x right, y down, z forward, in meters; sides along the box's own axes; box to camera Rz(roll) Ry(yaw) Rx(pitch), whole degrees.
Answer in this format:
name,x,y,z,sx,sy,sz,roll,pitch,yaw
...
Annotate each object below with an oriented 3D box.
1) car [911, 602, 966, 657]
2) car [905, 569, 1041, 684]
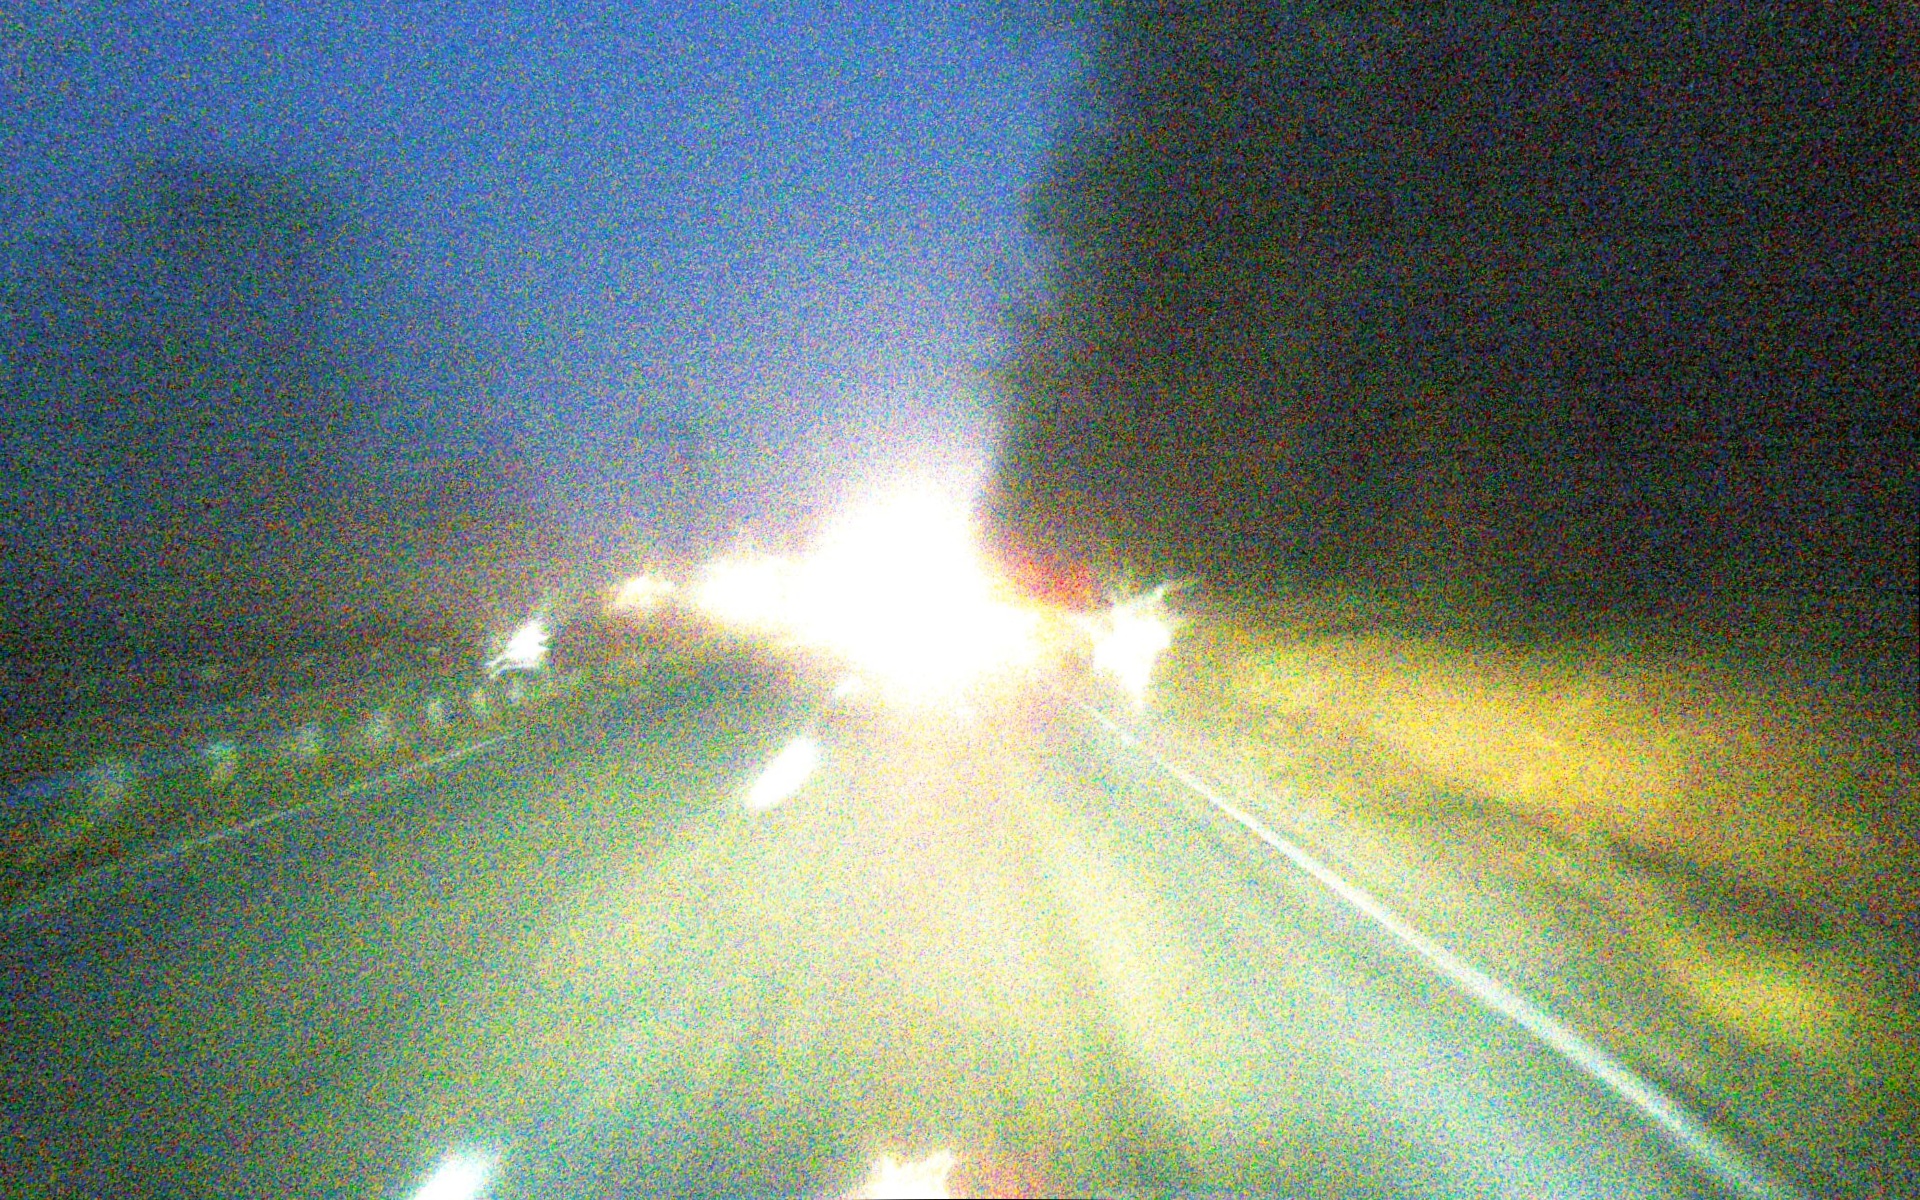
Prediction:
name,x,y,z,sx,sy,sz,roll,pitch,yaw
car,-0.937,1.225,69.943,1.955,2.048,3.996,-5,0,-4
car,0.235,0.546,32.787,2.408,1.993,4.911,-3,-1,0
